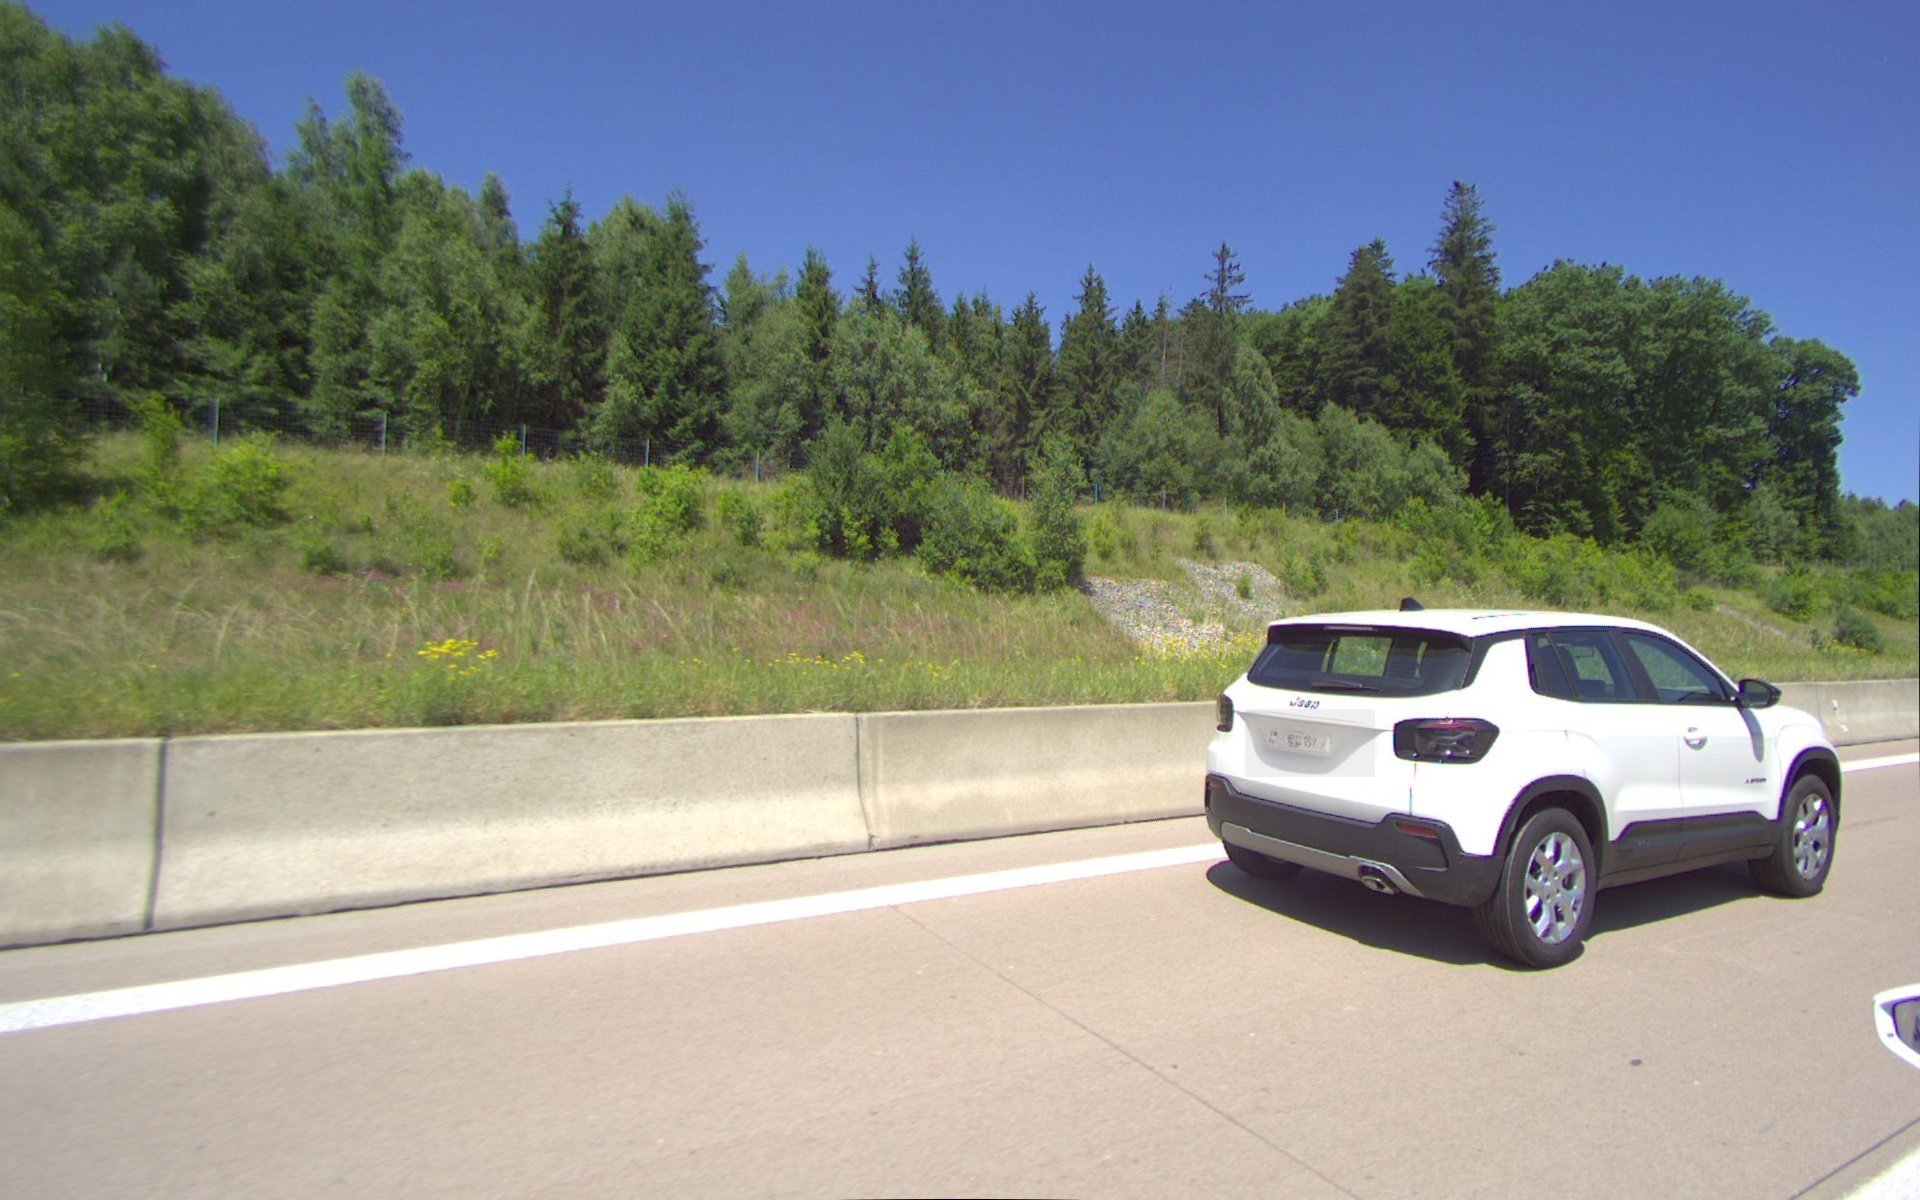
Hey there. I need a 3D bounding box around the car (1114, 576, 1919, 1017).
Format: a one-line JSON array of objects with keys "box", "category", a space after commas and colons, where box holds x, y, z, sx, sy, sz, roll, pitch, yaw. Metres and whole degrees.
[{"box": [3.351, 0.791, 5.735, 4.777, 1.628, 1.870, 2, -1, -30], "category": "car"}]
